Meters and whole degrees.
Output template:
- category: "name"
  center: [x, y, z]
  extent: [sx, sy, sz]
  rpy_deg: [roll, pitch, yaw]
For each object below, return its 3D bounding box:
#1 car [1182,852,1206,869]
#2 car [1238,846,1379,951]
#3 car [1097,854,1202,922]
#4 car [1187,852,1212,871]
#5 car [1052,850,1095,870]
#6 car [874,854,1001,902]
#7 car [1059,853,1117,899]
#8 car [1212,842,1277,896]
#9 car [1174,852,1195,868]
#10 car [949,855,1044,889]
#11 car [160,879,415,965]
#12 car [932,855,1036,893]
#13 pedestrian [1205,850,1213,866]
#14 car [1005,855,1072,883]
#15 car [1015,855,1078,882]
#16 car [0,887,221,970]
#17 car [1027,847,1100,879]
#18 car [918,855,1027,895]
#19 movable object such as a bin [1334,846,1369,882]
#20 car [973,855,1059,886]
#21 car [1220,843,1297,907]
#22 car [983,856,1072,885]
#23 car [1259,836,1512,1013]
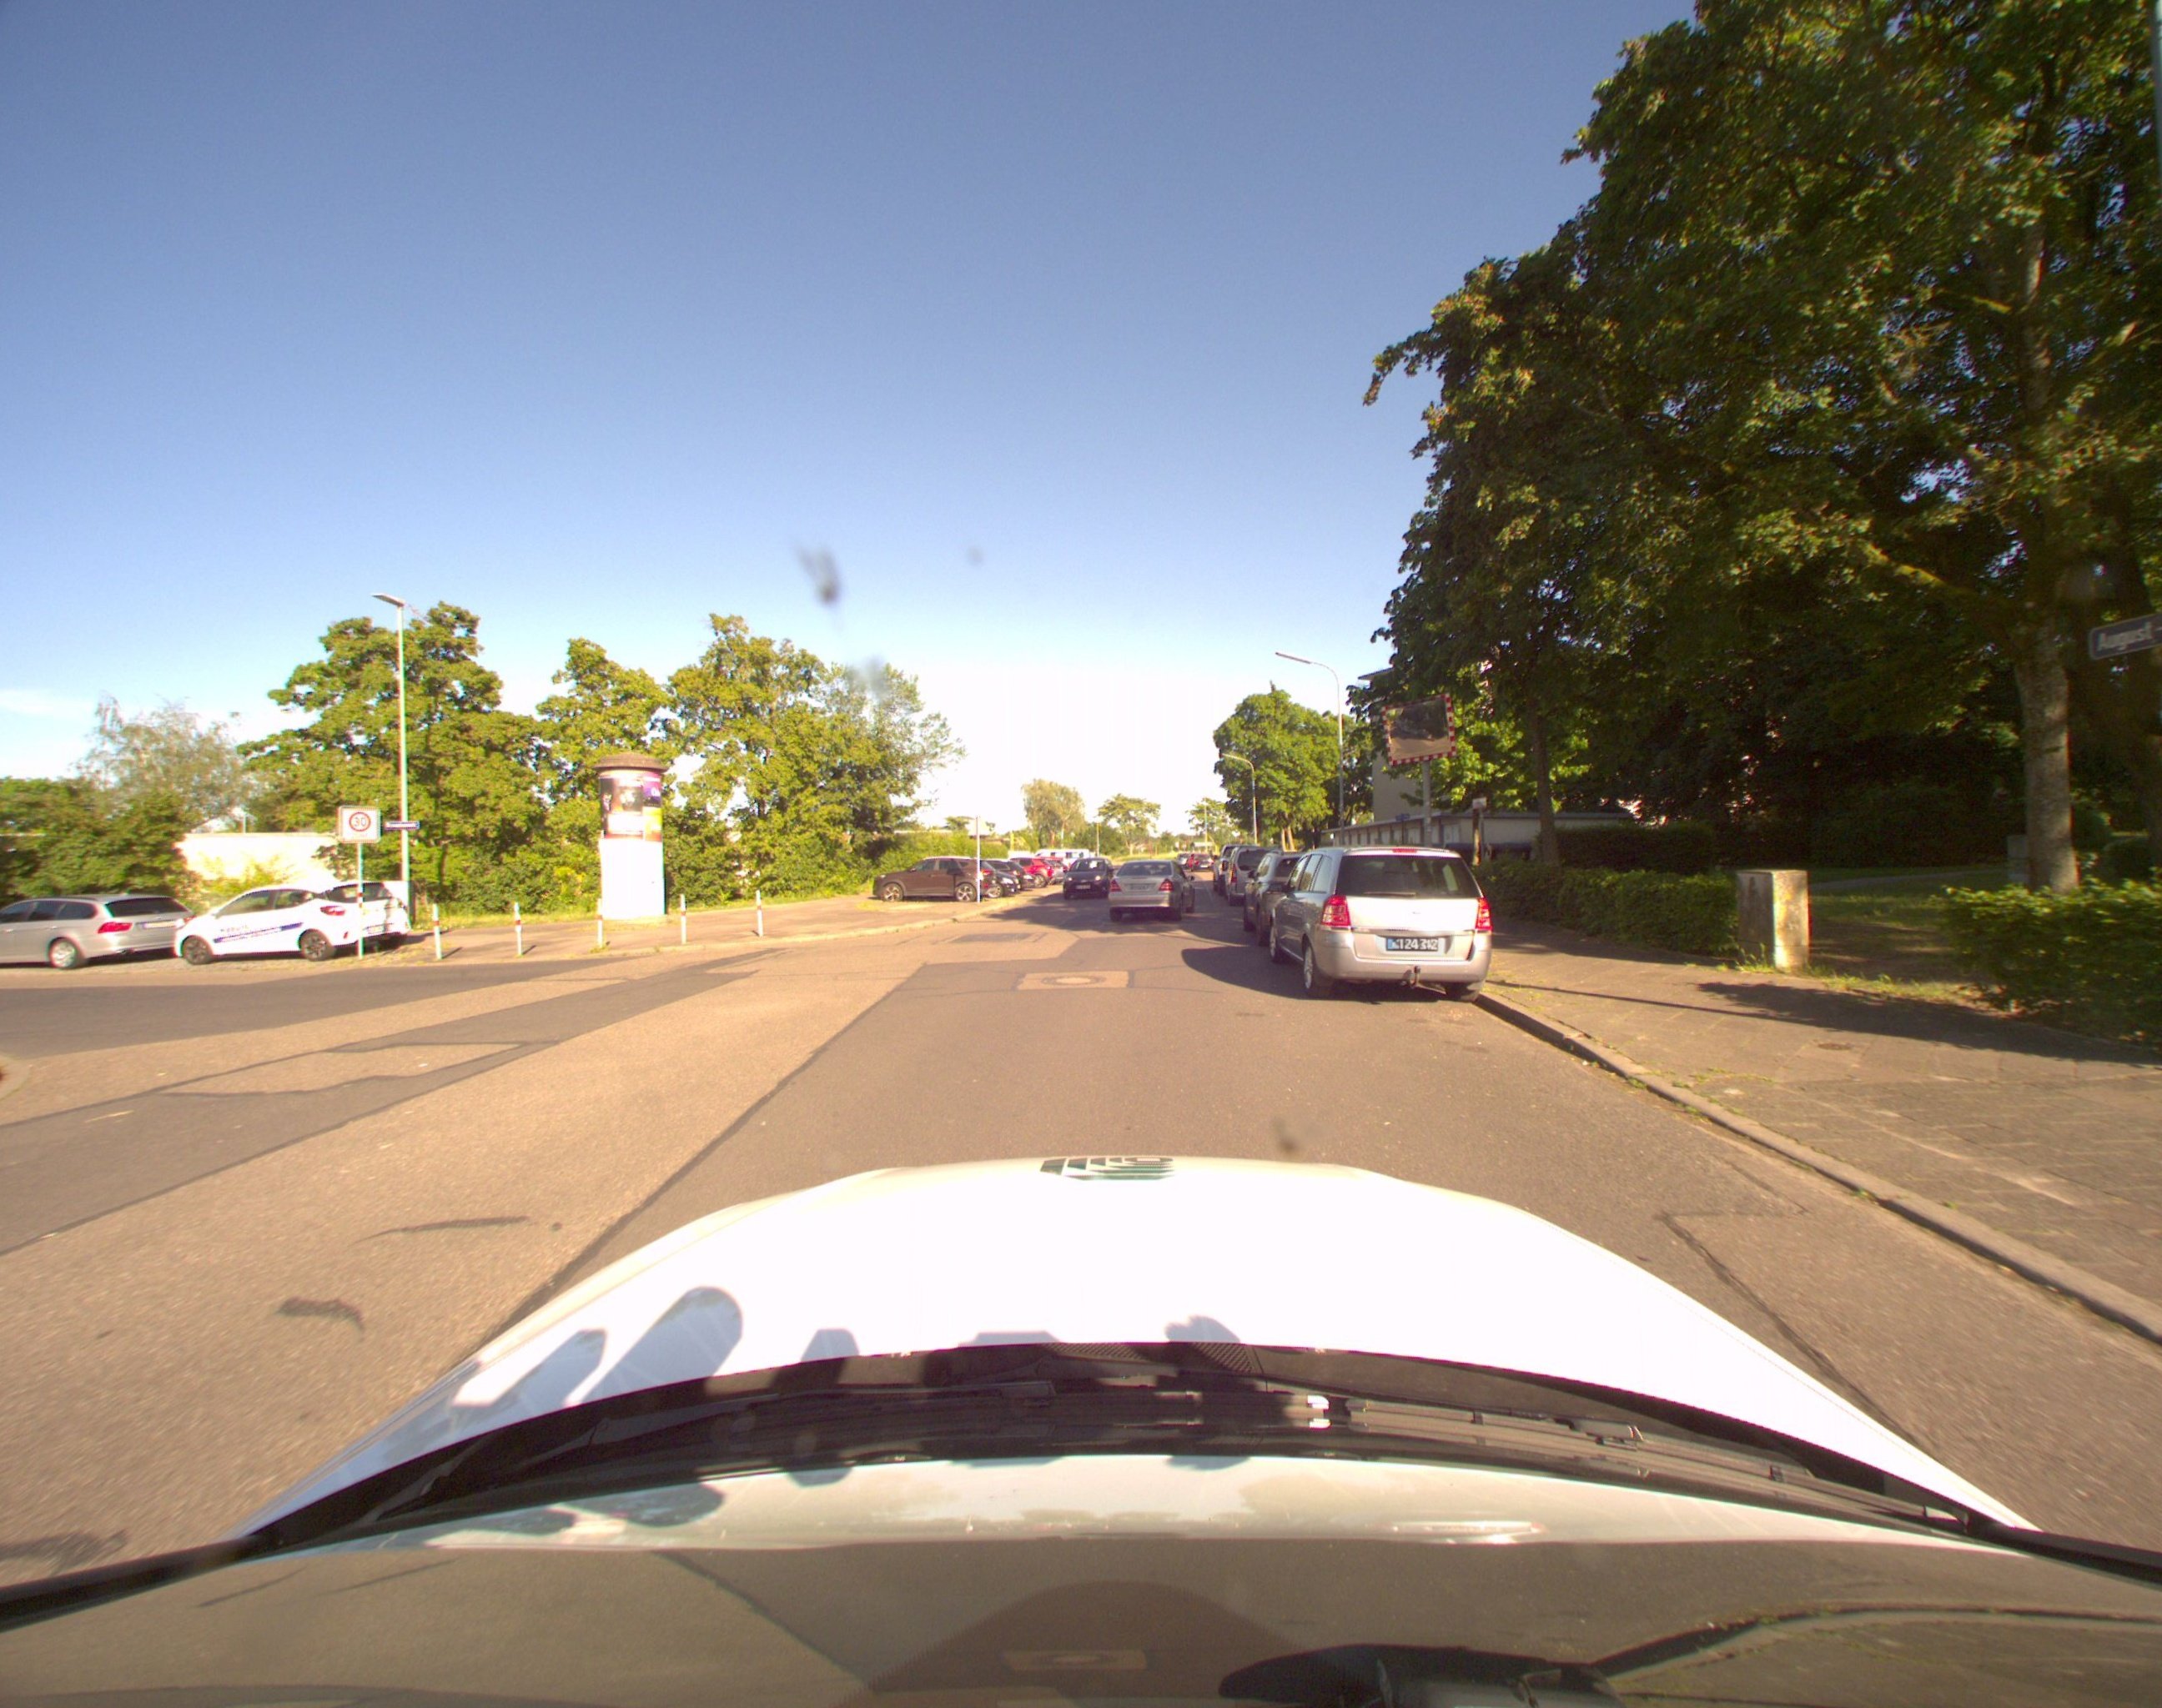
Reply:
- category: "car"
  center: [9.972, 0.581, 72.169]
  extent: [1.570, 1.446, 3.788]
  rpy_deg: [-1, -1, 0]
- category: "car"
  center: [3.890, 0.677, 14.549]
  extent: [1.795, 1.594, 4.030]
  rpy_deg: [0, 0, 6]
- category: "car"
  center: [1.834, 0.762, 20.394]
  extent: [1.802, 1.463, 4.379]
  rpy_deg: [-1, 0, 16]
- category: "car"
  center: [9.327, 0.617, 64.375]
  extent: [1.640, 1.403, 3.885]
  rpy_deg: [-2, -1, 3]
- category: "car"
  center: [-0.696, 0.541, 77.184]
  extent: [3.966, 1.780, 1.925]
  rpy_deg: [-1, 0, -1]
- category: "car"
  center: [-5.177, 0.839, 29.721]
  extent: [4.167, 1.656, 1.849]
  rpy_deg: [0, -1, 4]
- category: "car"
  center: [0.323, 0.796, 30.911]
  extent: [1.640, 1.556, 4.010]
  rpy_deg: [-3, -1, 7]
- category: "car"
  center: [5.986, 0.477, 30.419]
  extent: [1.897, 1.840, 5.283]
  rpy_deg: [0, 1, 6]
- category: "car"
  center: [10.375, 0.566, 81.903]
  extent: [1.725, 1.543, 3.788]
  rpy_deg: [-1, -1, 0]
- category: "car"
  center: [-3.820, 0.807, 37.185]
  extent: [4.000, 1.512, 1.908]
  rpy_deg: [0, -1, 4]
- category: "car"
  center: [-15.858, 1.325, 16.397]
  extent: [3.503, 1.462, 1.740]
  rpy_deg: [-3, -1, 4]
- category: "car"
  center: [-4.088, 0.839, 34.789]
  extent: [4.073, 1.512, 1.815]
  rpy_deg: [0, -1, 4]
- category: "pedestrian"
  center: [12.613, 0.433, 80.247]
  extent: [0.784, 1.565, 0.570]
  rpy_deg: [0, -1, 2]
- category: "car"
  center: [-2.440, 0.842, 47.212]
  extent: [3.583, 1.567, 1.885]
  rpy_deg: [0, 0, 6]
- category: "car"
  center: [-2.055, 0.858, 49.695]
  extent: [3.583, 1.567, 1.855]
  rpy_deg: [0, 0, 6]
- category: "car"
  center: [-20.749, 1.531, 16.798]
  extent: [4.310, 1.462, 1.740]
  rpy_deg: [-3, -1, 4]
- category: "car"
  center: [-1.106, 0.599, 52.735]
  extent: [4.457, 1.977, 2.003]
  rpy_deg: [0, -1, 5]
- category: "car"
  center: [-4.288, 0.830, 32.593]
  extent: [3.968, 1.532, 1.834]
  rpy_deg: [0, -1, 4]
- category: "movable object such as a bin"
  center: [10.580, 0.398, 31.866]
  extent: [1.240, 1.347, 1.058]
  rpy_deg: [-2, -2, 18]
- category: "car"
  center: [-3.168, 0.797, 40.291]
  extent: [3.966, 1.479, 1.794]
  rpy_deg: [0, 0, 6]
- category: "car"
  center: [5.403, 0.569, 25.308]
  extent: [1.824, 1.791, 4.563]
  rpy_deg: [0, 1, 6]
- category: "car"
  center: [-2.867, 0.884, 44.184]
  extent: [4.520, 1.479, 1.751]
  rpy_deg: [0, 0, 6]
- category: "car"
  center: [3.277, 0.665, 9.708]
  extent: [1.759, 1.610, 4.379]
  rpy_deg: [0, -1, 5]
